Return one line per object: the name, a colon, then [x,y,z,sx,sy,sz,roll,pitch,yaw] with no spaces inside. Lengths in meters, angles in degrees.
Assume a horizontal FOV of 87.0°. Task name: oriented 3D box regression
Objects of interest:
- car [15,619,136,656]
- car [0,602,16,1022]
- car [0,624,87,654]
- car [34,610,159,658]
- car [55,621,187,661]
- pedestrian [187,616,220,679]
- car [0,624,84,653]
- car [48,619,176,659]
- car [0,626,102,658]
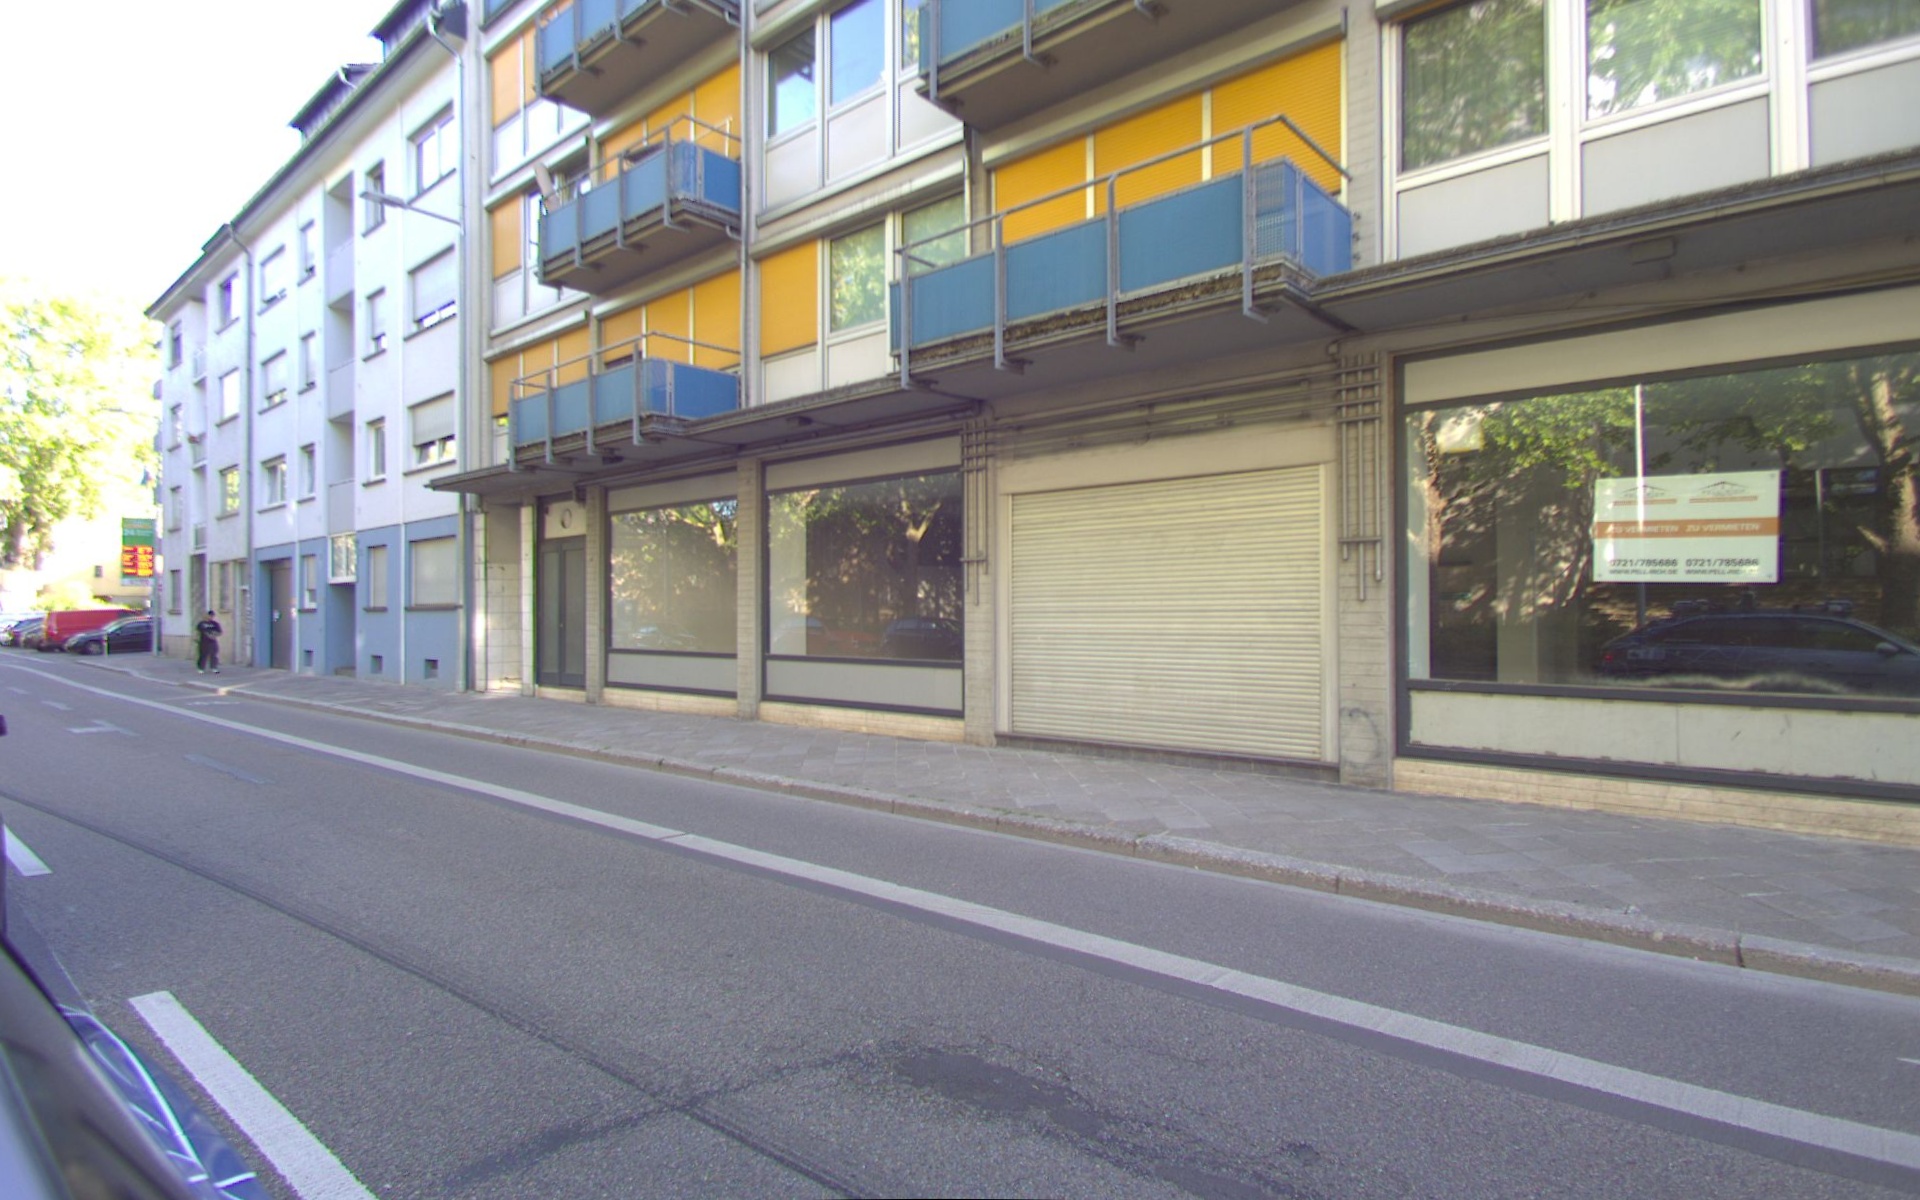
car: [-42.760,1.795,49.014,1.652,1.480,4.201,-1,1,41]
car: [-5.645,0.798,4.406,4.300,1.510,1.826,-1,-1,41]
car: [-54.501,2.284,59.789,1.652,1.480,4.201,-1,1,41]
car: [-40.572,1.563,47.618,1.817,1.933,4.202,-2,1,40]
car: [-36.497,1.748,44.093,1.652,1.411,4.201,-1,1,41]
pedestrian: [-20.778,1.290,27.793,0.655,1.708,0.604,-2,-1,41]
car: [-55.882,2.304,61.196,1.652,1.480,4.201,-1,1,41]
car: [-38.190,1.735,45.656,1.652,1.480,4.201,-1,1,41]
car: [-50.468,2.297,56.104,1.652,1.480,4.201,-1,1,41]
